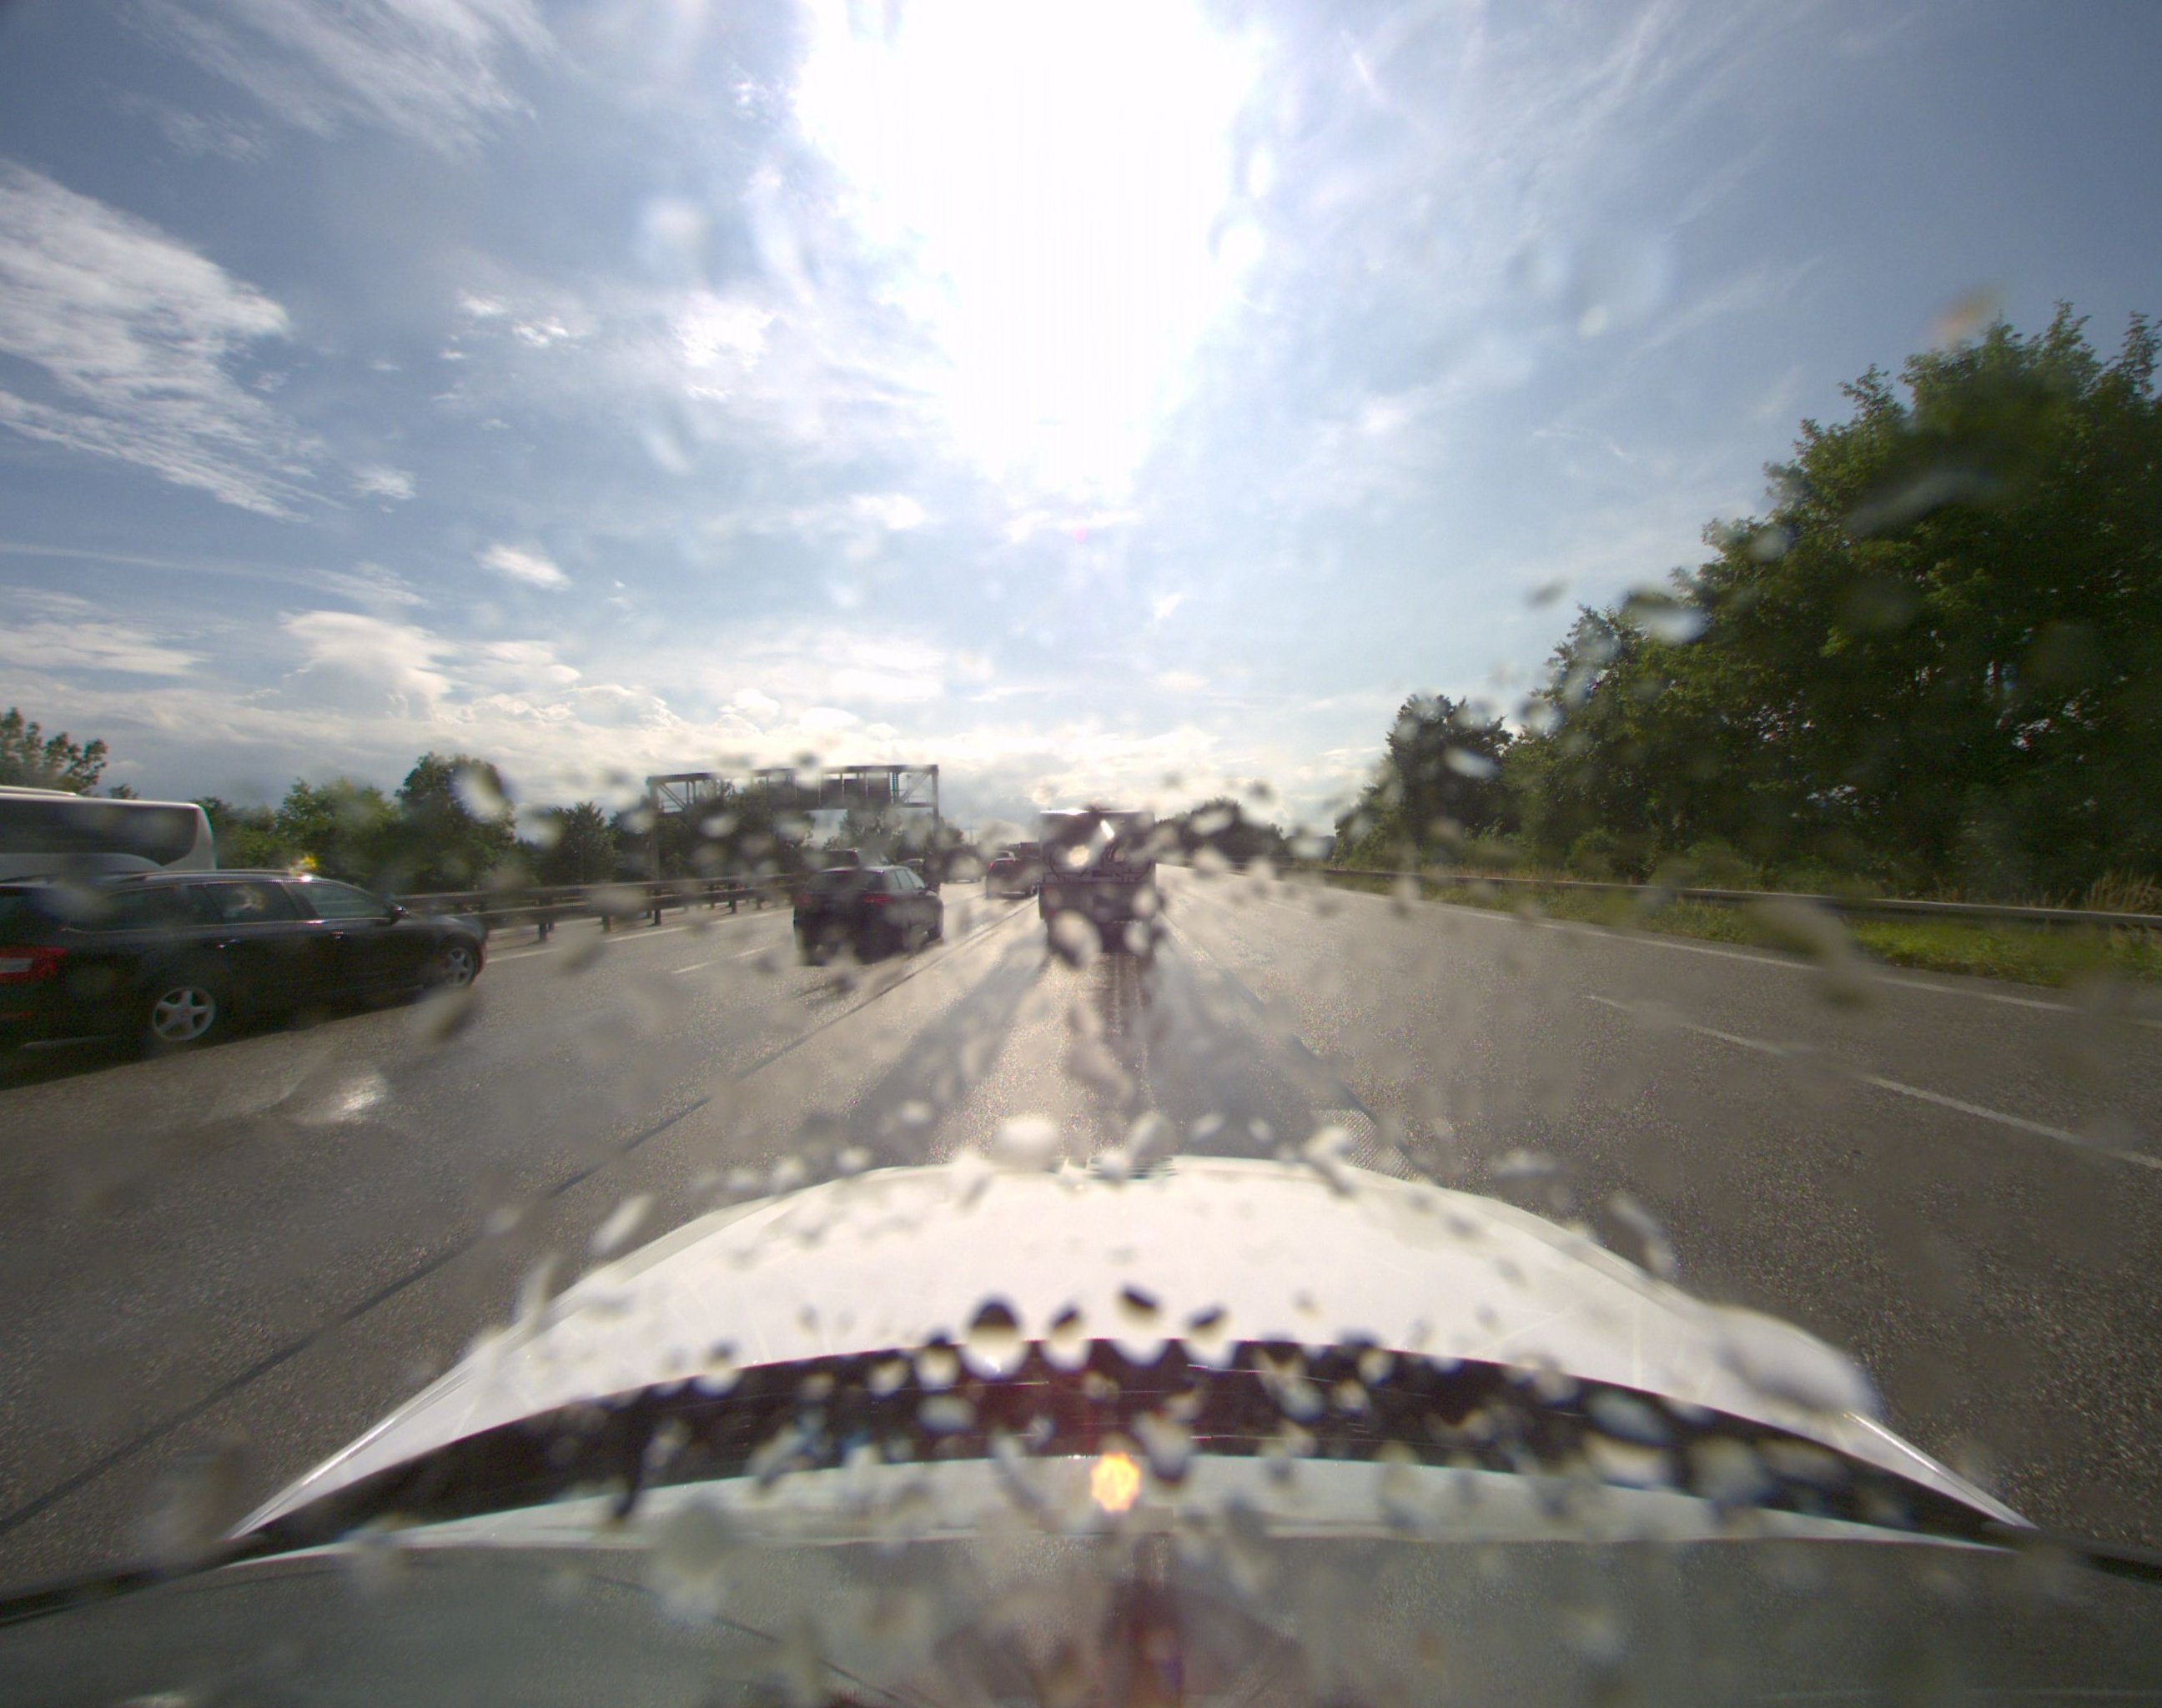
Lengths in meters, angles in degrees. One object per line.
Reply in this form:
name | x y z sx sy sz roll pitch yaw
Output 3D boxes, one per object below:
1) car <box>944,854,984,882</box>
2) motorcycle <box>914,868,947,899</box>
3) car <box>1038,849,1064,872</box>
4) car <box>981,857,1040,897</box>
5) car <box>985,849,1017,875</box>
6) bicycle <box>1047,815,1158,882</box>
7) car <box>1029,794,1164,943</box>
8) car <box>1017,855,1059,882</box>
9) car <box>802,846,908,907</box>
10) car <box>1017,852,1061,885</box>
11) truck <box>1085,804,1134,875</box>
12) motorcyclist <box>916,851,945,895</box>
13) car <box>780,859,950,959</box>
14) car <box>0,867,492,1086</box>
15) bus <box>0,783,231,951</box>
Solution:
car | -7.026 0.805 49.325 1.777 1.578 3.917 -1 0 1
motorcycle | -5.449 1.057 29.601 0.688 1.027 2.389 -1 0 2
car | -2.260 0.485 61.757 1.682 1.662 3.642 -1 0 2
car | -2.683 0.848 31.812 1.751 1.443 4.003 -1 0 3
car | -6.223 0.586 63.674 1.841 1.934 5.018 -1 0 2
bicycle | 0.387 -0.091 14.463 1.925 1.141 0.384 -1 -1 3
car | 0.384 0.278 16.664 2.401 2.674 4.003 -1 0 3
car | -2.427 0.788 46.723 1.979 1.458 3.829 -1 0 3
car | -7.543 0.699 27.775 1.799 1.844 5.422 -1 0 3
car | -2.010 0.661 39.937 1.856 1.508 4.001 -1 0 1
truck | 2.006 -0.952 58.820 3.135 4.626 10.738 -1 0 1
motorcyclist | -5.452 0.676 29.638 0.793 1.537 1.093 -1 0 2
car | -3.566 0.838 14.222 1.743 1.433 4.056 -1 0 2
car | -8.169 0.880 7.711 1.913 1.425 4.373 -1 0 1
bus | -22.667 0.278 14.009 2.928 3.286 12.217 -1 0 2
